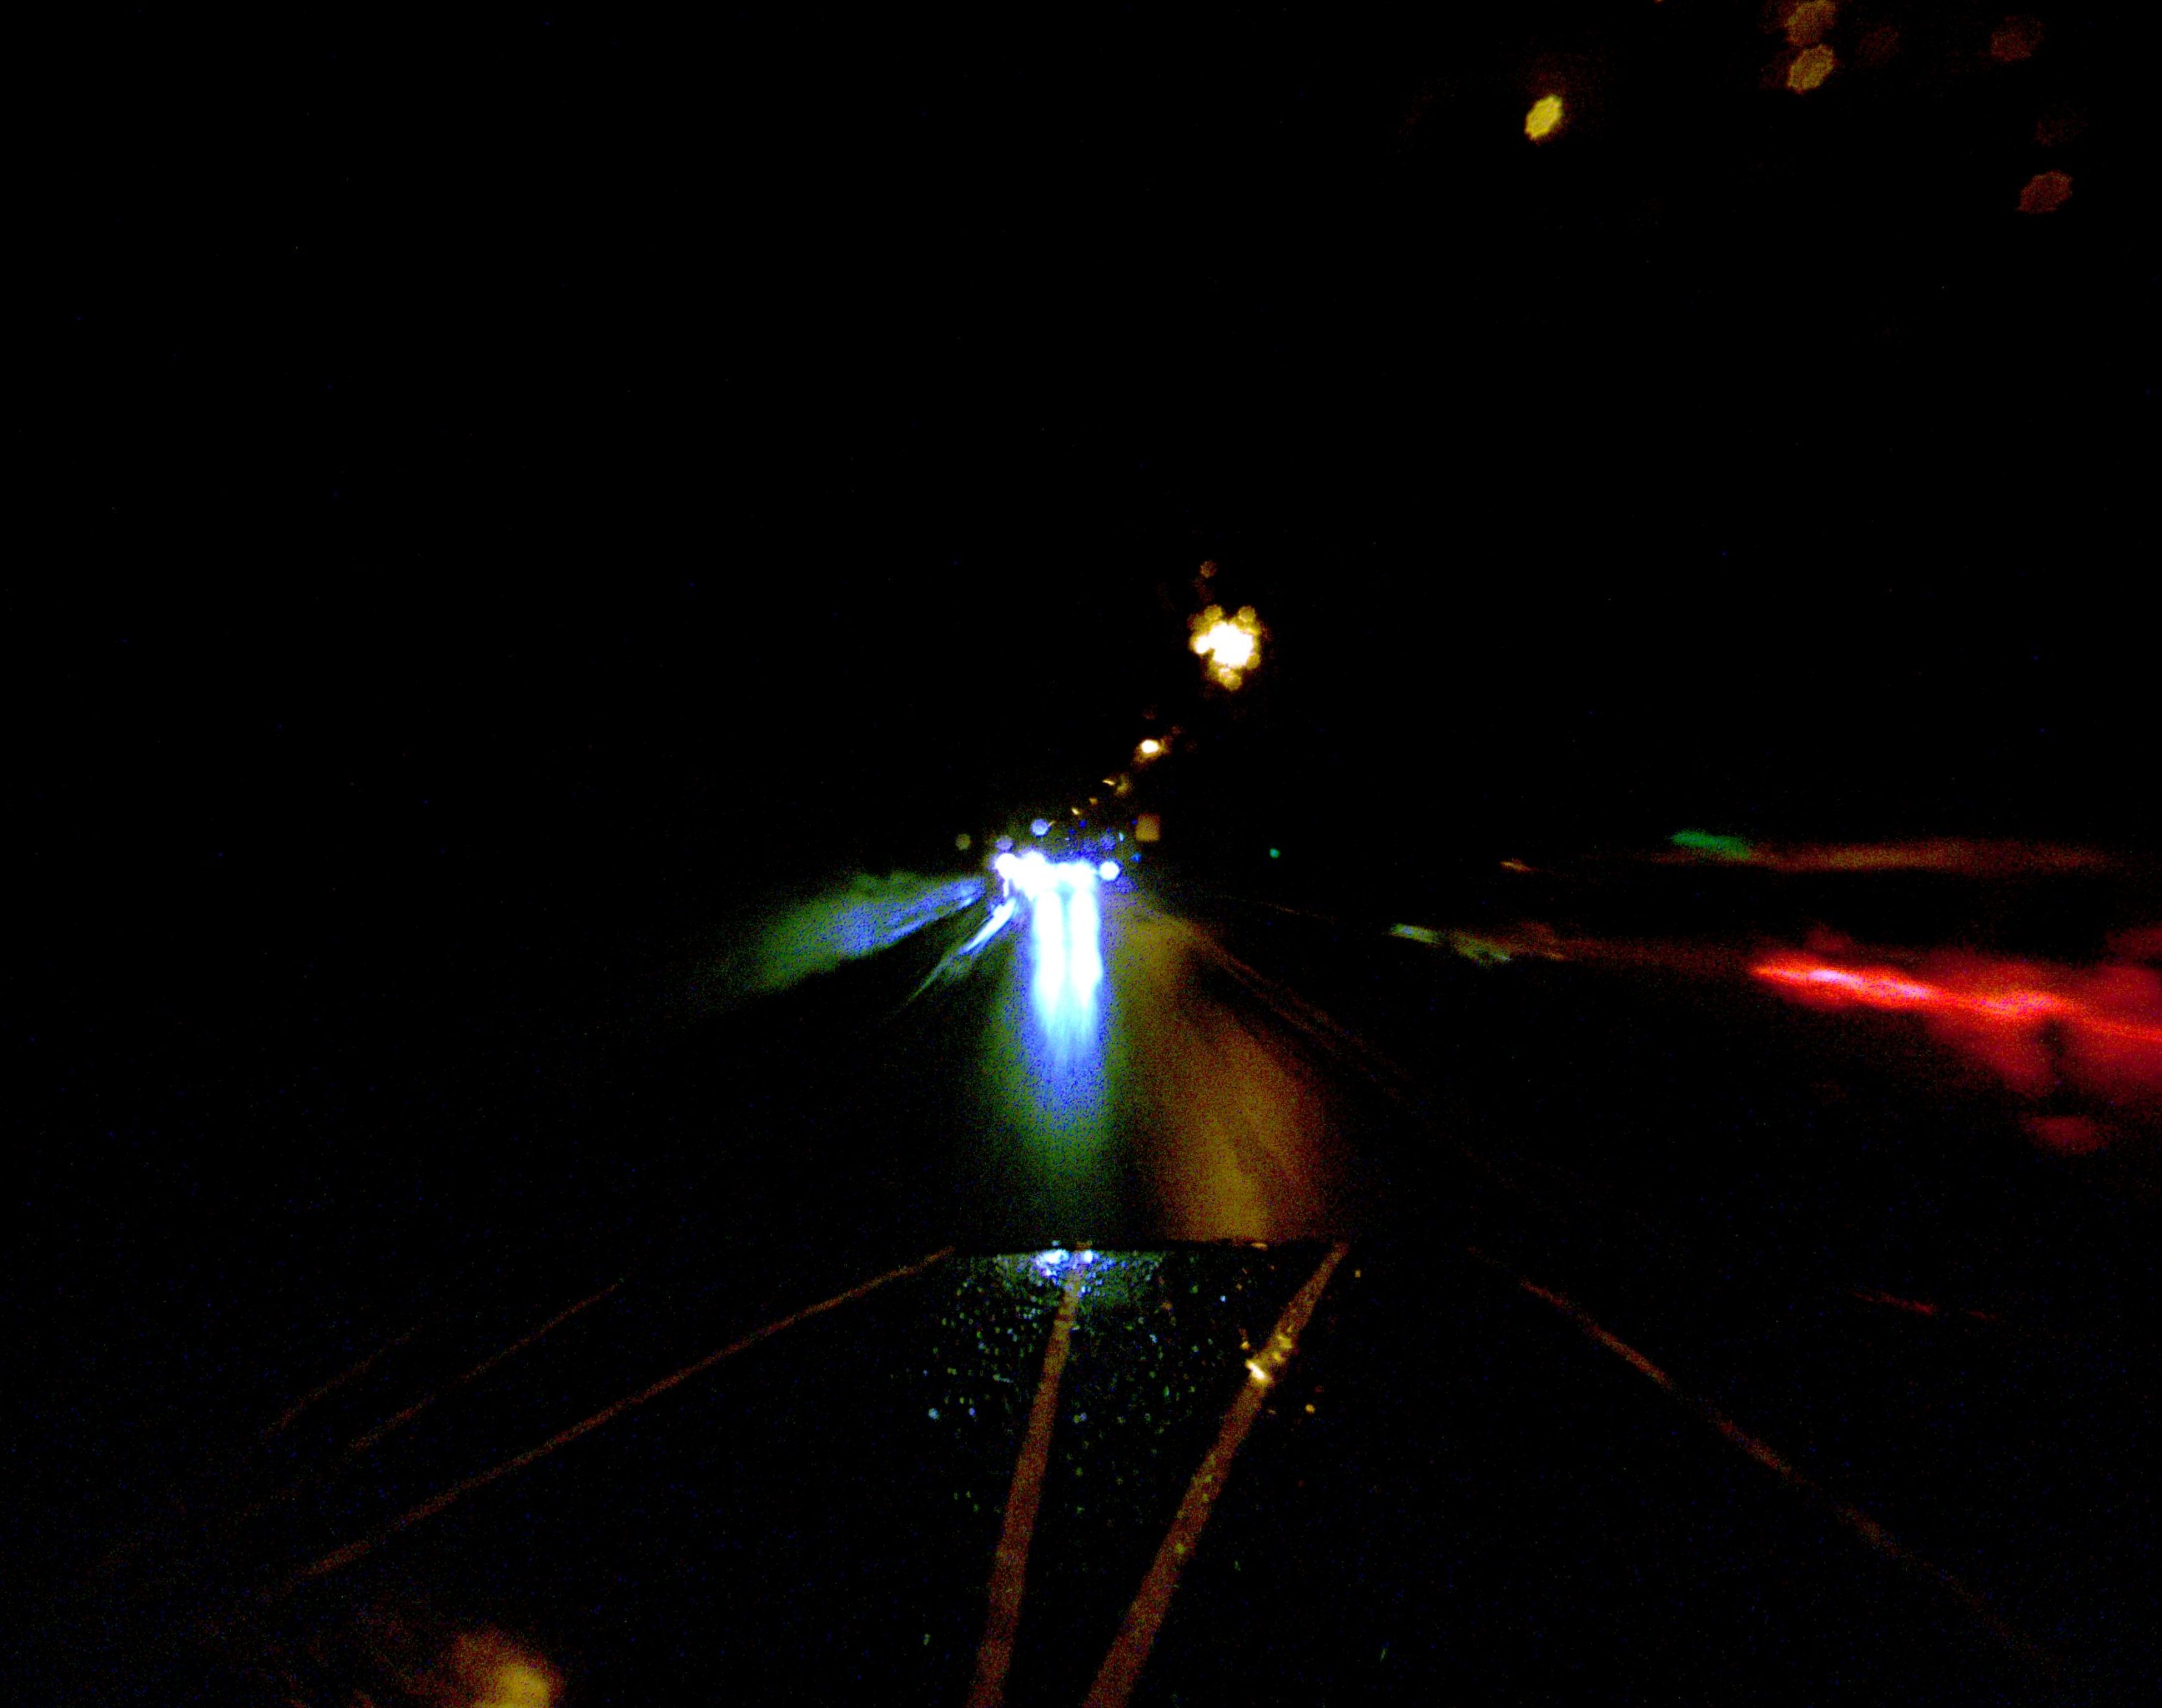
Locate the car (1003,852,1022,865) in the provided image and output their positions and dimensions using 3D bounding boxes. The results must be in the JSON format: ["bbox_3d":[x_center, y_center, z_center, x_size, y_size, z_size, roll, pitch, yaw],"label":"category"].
[{"bbox_3d":[-9.343,0.582,103.241,1.711,1.761,3.993,0,1,-18],"label":"car"}]

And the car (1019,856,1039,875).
[{"bbox_3d":[-5.737,1.232,82.878,1.900,2.002,3.996,0,1,-8],"label":"car"}]

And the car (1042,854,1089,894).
[{"bbox_3d":[-0.732,0.852,34.530,1.999,1.585,4.607,-1,1,-2],"label":"car"}]

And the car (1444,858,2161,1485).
[{"bbox_3d":[3.537,0.797,3.587,1.713,1.501,4.079,-1,0,0],"label":"car"}]
